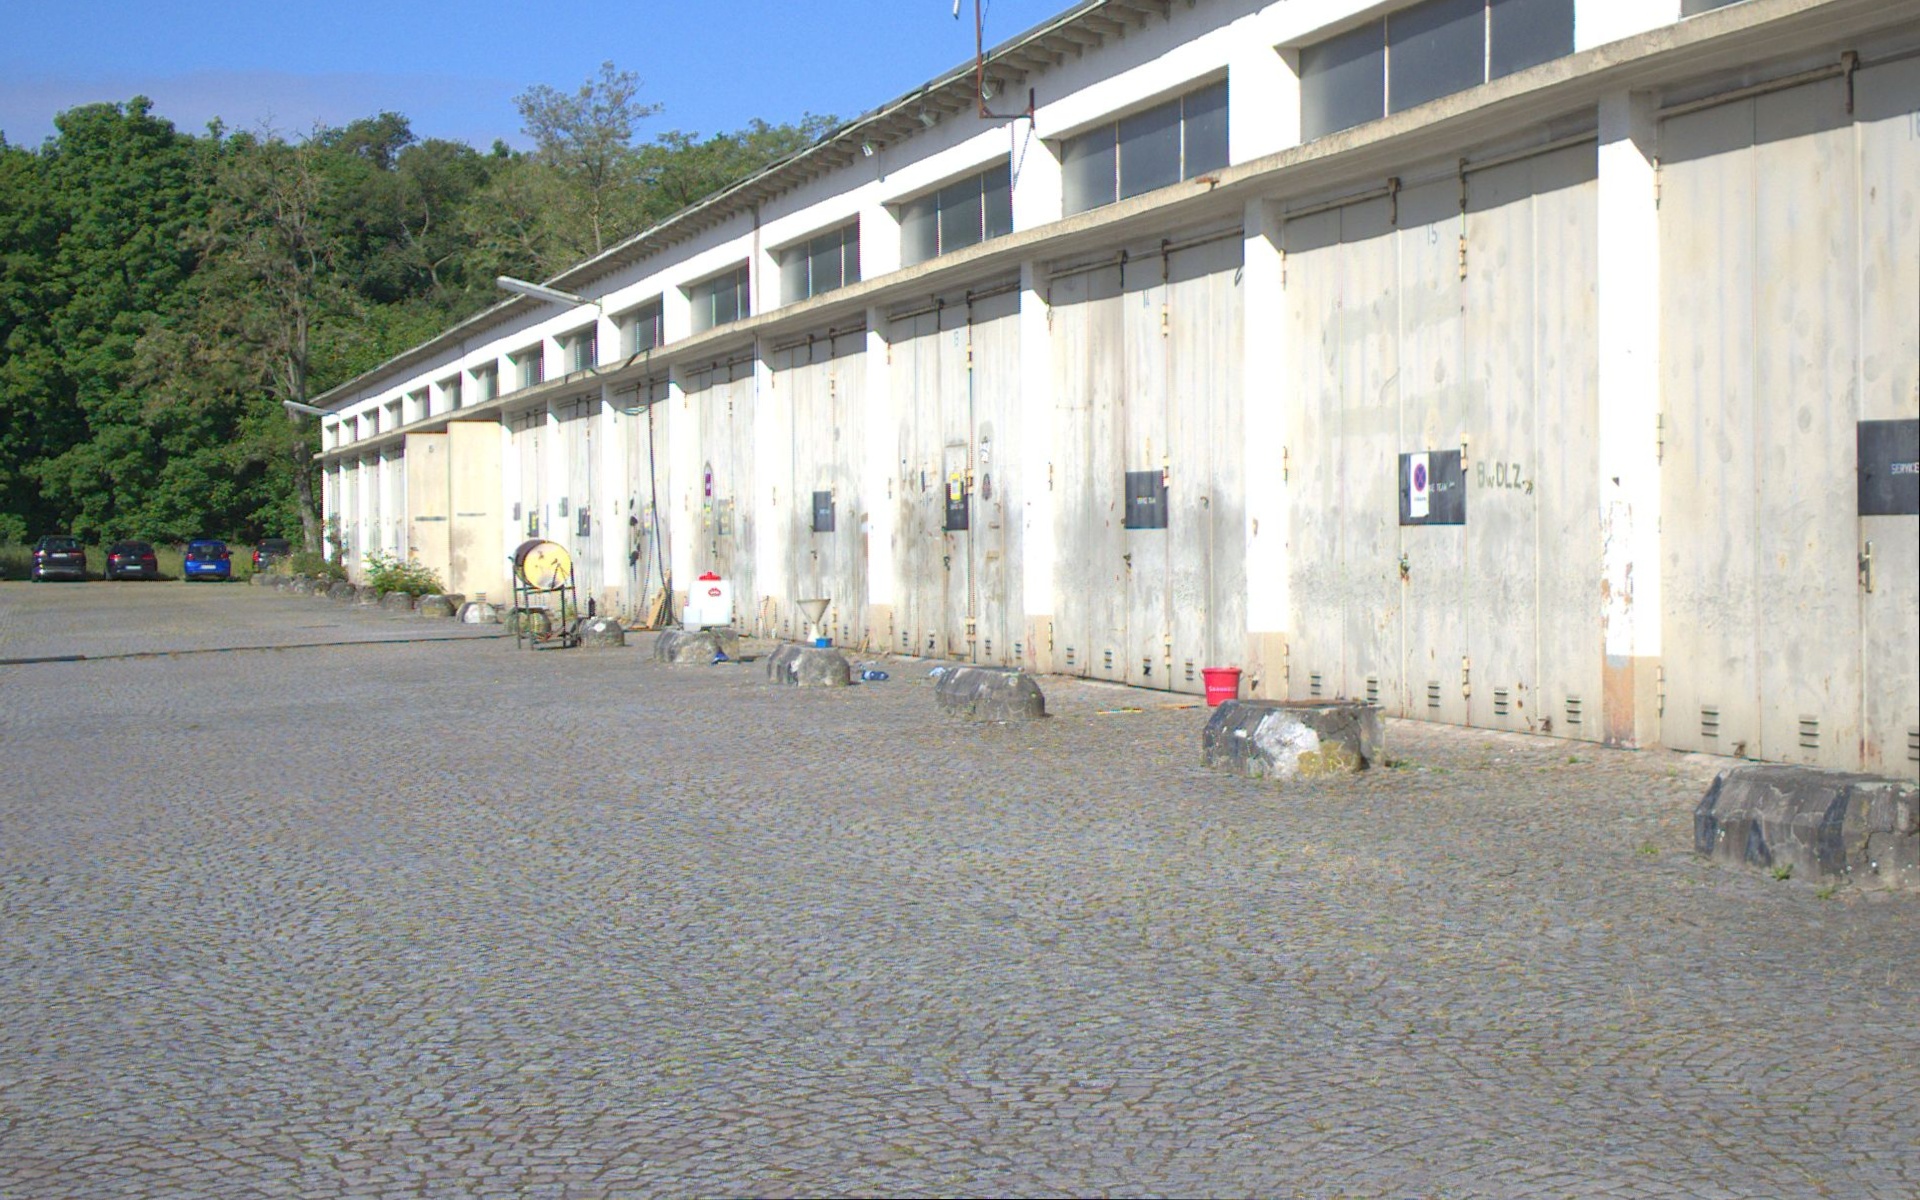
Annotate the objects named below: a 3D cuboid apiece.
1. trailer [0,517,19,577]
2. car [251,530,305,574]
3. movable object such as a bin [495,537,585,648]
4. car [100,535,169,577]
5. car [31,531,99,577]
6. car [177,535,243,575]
[{"bbox_3d":[-34.606,-1.893,122.433,1.793,2.083,3.973,-1,1,-11],"label":"trailer"},{"bbox_3d":[-24.760,-1.745,124.874,1.685,1.558,4.001,-1,1,-8],"label":"car"},{"bbox_3d":[-5.157,-0.106,42.166,0.823,1.327,1.281,-1,1,-20],"label":"movable object such as a bin"},{"bbox_3d":[-29.338,-1.580,122.268,1.993,1.457,4.001,-1,1,-8],"label":"car"},{"bbox_3d":[-31.617,-1.634,121.466,1.861,1.580,4.001,-1,1,-8],"label":"car"},{"bbox_3d":[-26.793,-1.617,122.938,1.993,1.415,4.001,0,1,-8],"label":"car"}]
